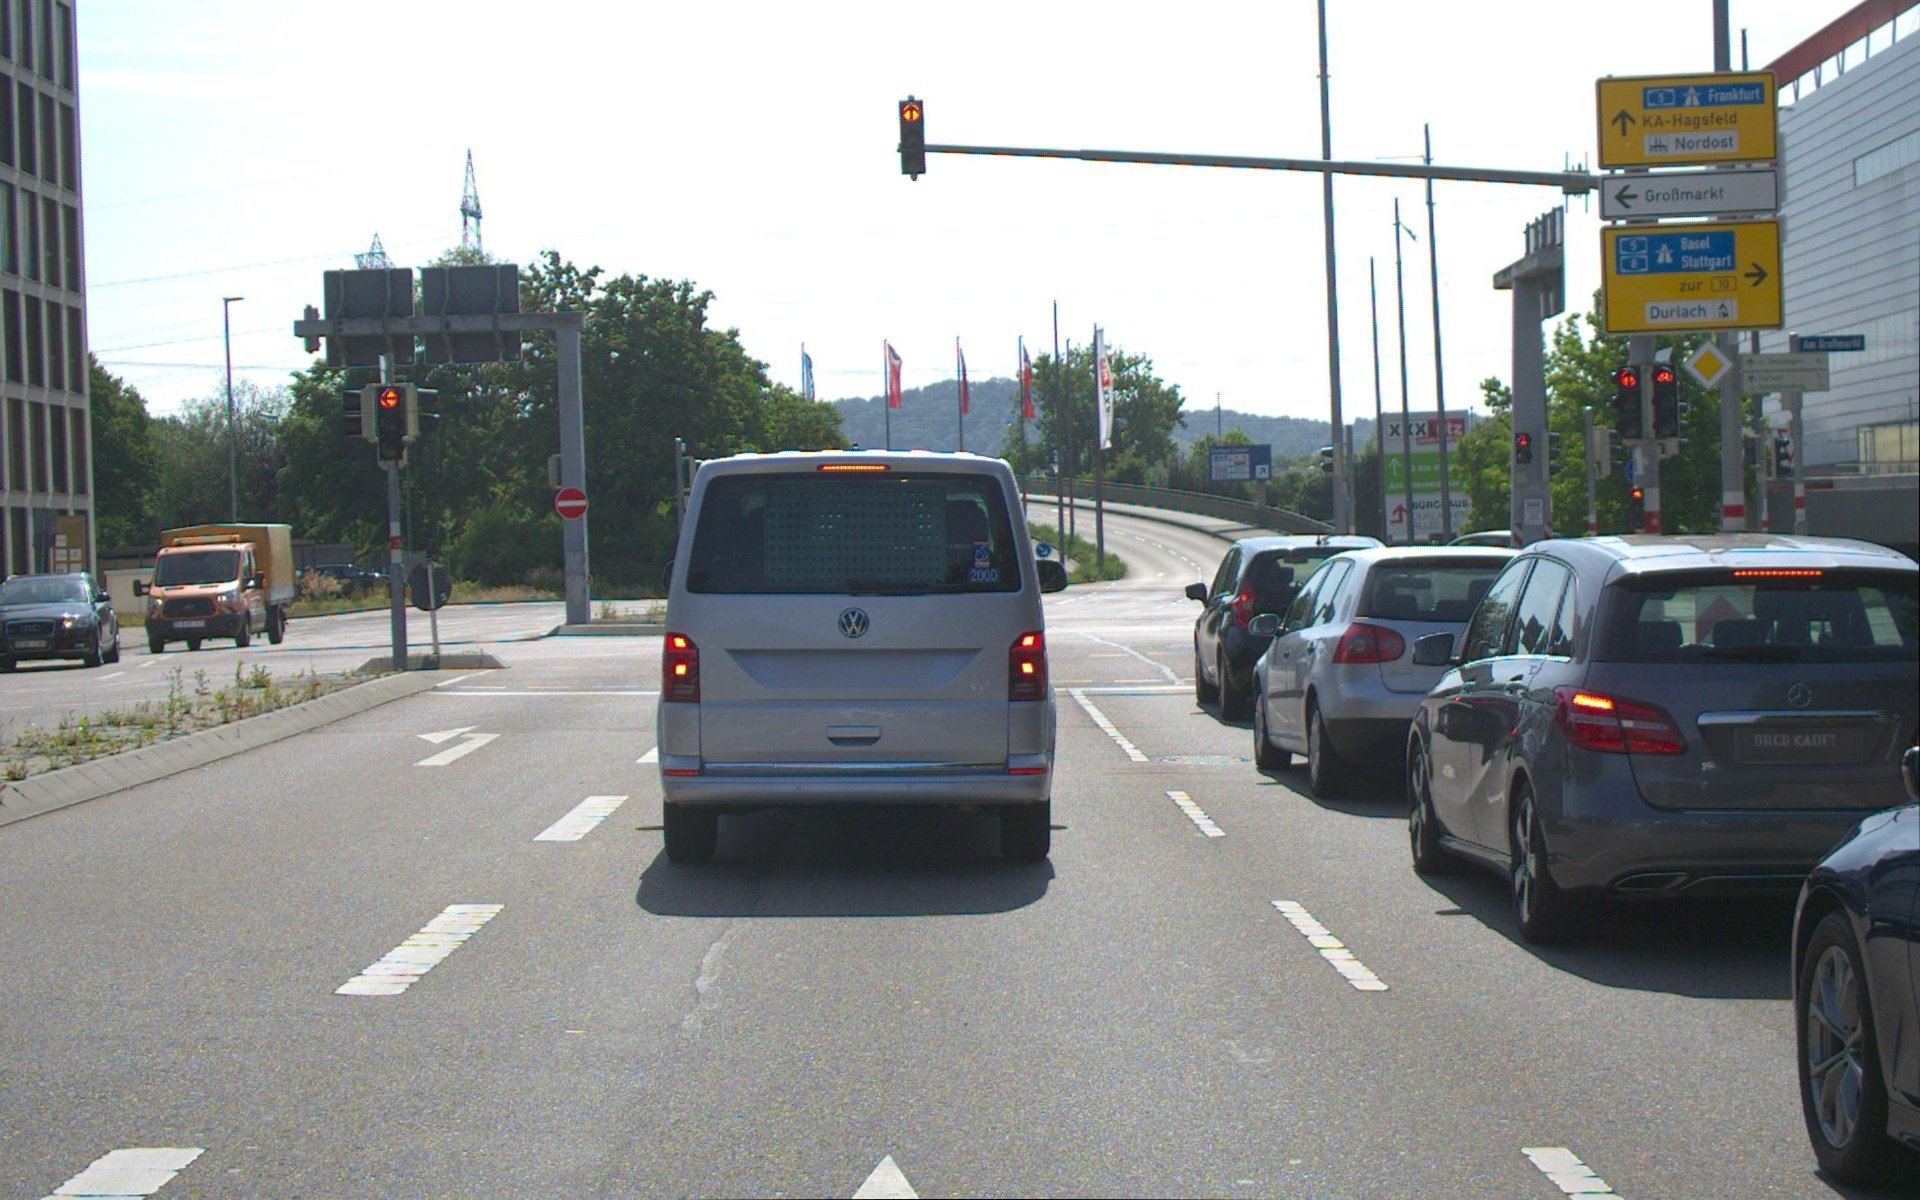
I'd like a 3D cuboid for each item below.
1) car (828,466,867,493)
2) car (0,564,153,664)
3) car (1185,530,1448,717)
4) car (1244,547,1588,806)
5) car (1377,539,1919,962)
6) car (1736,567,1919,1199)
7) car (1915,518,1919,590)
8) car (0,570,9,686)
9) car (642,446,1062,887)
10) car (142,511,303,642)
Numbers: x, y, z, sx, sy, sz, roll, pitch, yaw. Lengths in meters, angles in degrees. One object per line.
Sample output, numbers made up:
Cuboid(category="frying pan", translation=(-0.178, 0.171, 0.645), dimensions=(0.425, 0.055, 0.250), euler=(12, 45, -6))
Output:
Cuboid(category="car", translation=(-8.412, -9.000, 257.022), dimensions=(1.993, 2.007, 4.001), euler=(-1, 1, -16))
Cuboid(category="car", translation=(-13.781, 0.185, 53.538), dimensions=(1.576, 1.404, 4.380), euler=(-2, 1, -3))
Cuboid(category="car", translation=(3.050, 0.155, 30.158), dimensions=(1.836, 1.521, 4.000), euler=(0, 1, -1))
Cuboid(category="car", translation=(2.749, 0.406, 21.418), dimensions=(1.578, 1.453, 3.786), euler=(0, 1, -1))
Cuboid(category="car", translation=(2.905, 0.505, 14.439), dimensions=(1.746, 1.511, 4.078), euler=(0, 1, -1))
Cuboid(category="car", translation=(2.882, 0.681, 6.509), dimensions=(1.746, 1.453, 4.476), euler=(0, 1, -1))
Cuboid(category="car", translation=(17.818, -0.735, 56.512), dimensions=(3.773, 1.513, 1.481), euler=(-4, 1, 4))
Cuboid(category="car", translation=(-12.085, 0.415, 38.971), dimensions=(1.681, 1.353, 3.841), euler=(-2, 2, -3))
Cuboid(category="car", translation=(-0.511, 0.264, 17.551), dimensions=(1.884, 1.983, 4.000), euler=(0, 1, -1))
Cuboid(category="car", translation=(-15.534, -0.532, 72.766), dimensions=(2.405, 2.552, 6.896), euler=(-2, 1, -5))
